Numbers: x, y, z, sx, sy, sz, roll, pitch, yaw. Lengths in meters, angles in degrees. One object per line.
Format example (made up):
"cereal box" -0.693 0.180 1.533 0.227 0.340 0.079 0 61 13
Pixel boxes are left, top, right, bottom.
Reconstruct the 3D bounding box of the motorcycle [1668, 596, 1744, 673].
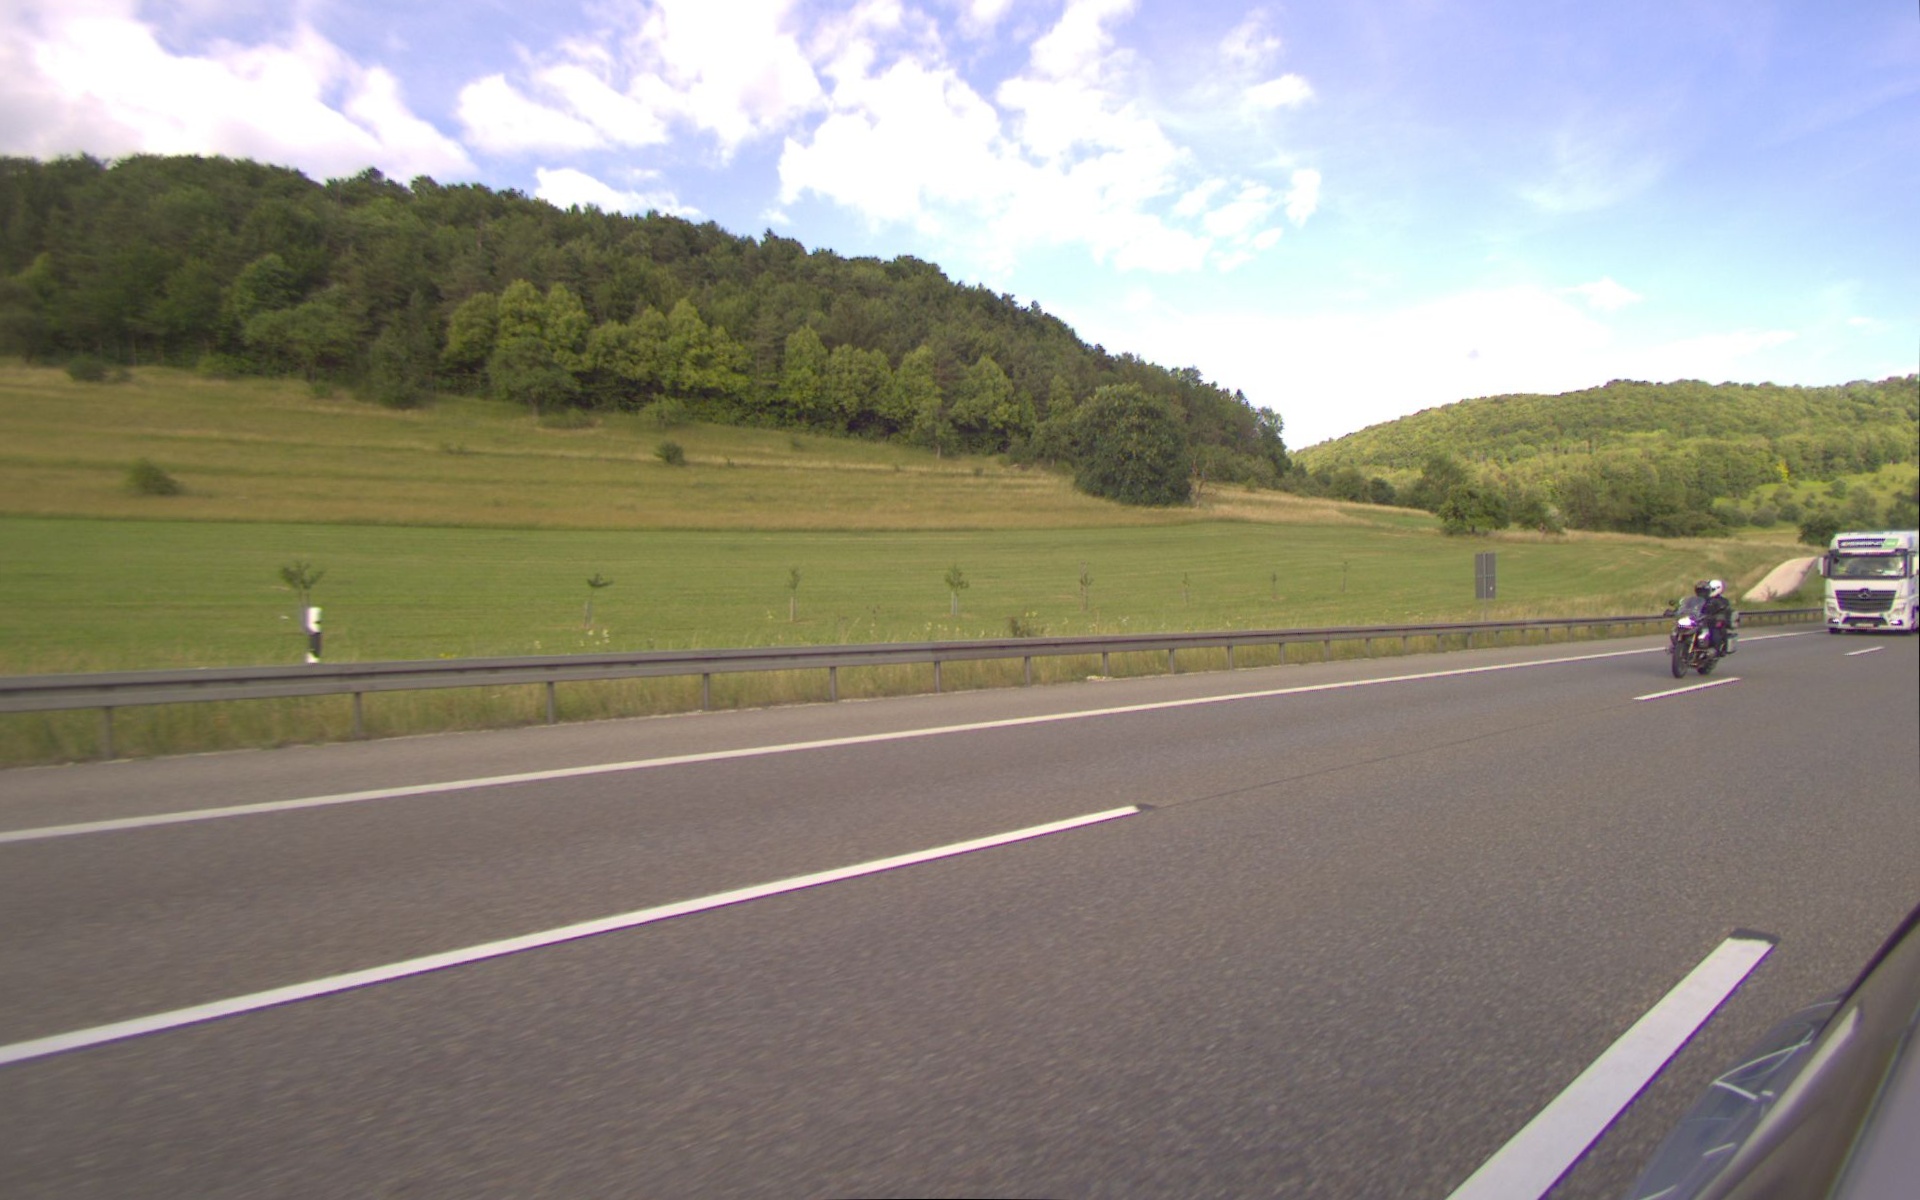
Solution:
"motorcycle" 13.908 0.610 18.850 1.706 1.356 0.629 0 0 -35

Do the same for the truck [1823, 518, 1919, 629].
"truck" 40.666 -1.056 43.042 17.414 4.042 2.971 -1 0 -39

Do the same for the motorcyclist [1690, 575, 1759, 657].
"motorcyclist" 14.610 0.292 19.337 0.783 1.534 0.878 -1 0 -39
